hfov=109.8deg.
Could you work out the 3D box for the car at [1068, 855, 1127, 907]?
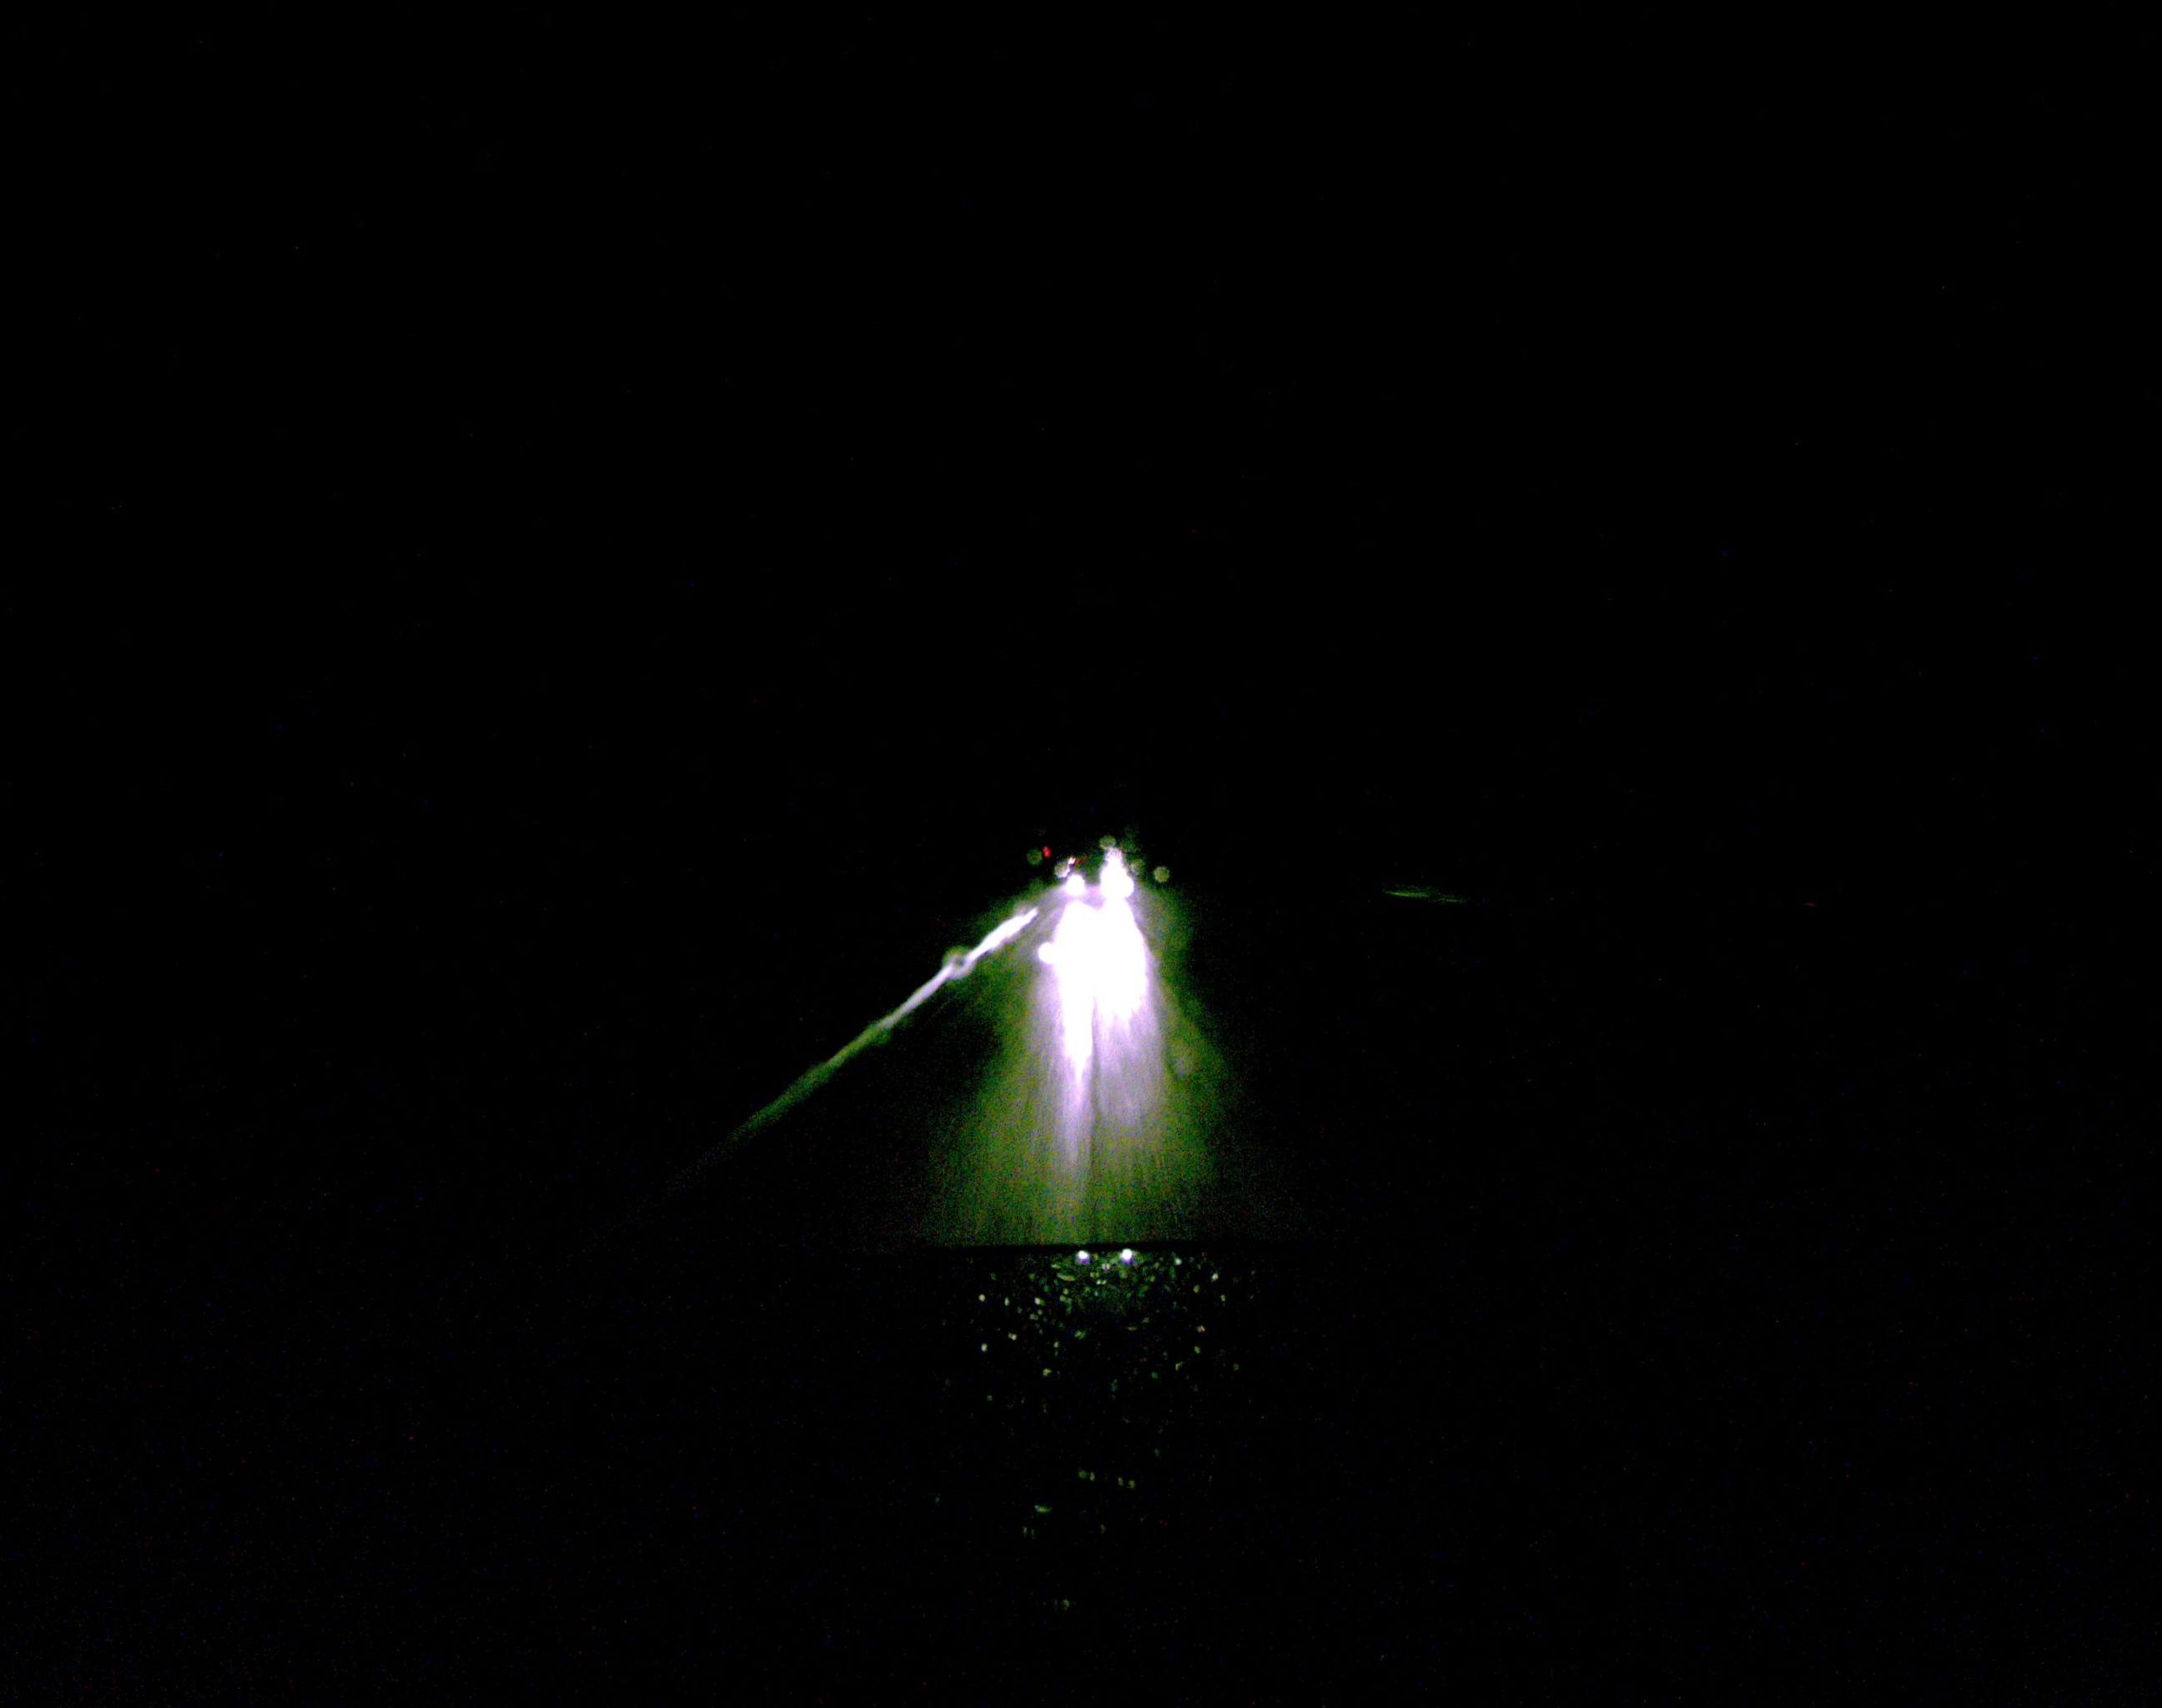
[{"bbox_3d":[0.604,0.940,28.315,1.862,1.601,4.420,-6,0,1],"label":"car"}]
